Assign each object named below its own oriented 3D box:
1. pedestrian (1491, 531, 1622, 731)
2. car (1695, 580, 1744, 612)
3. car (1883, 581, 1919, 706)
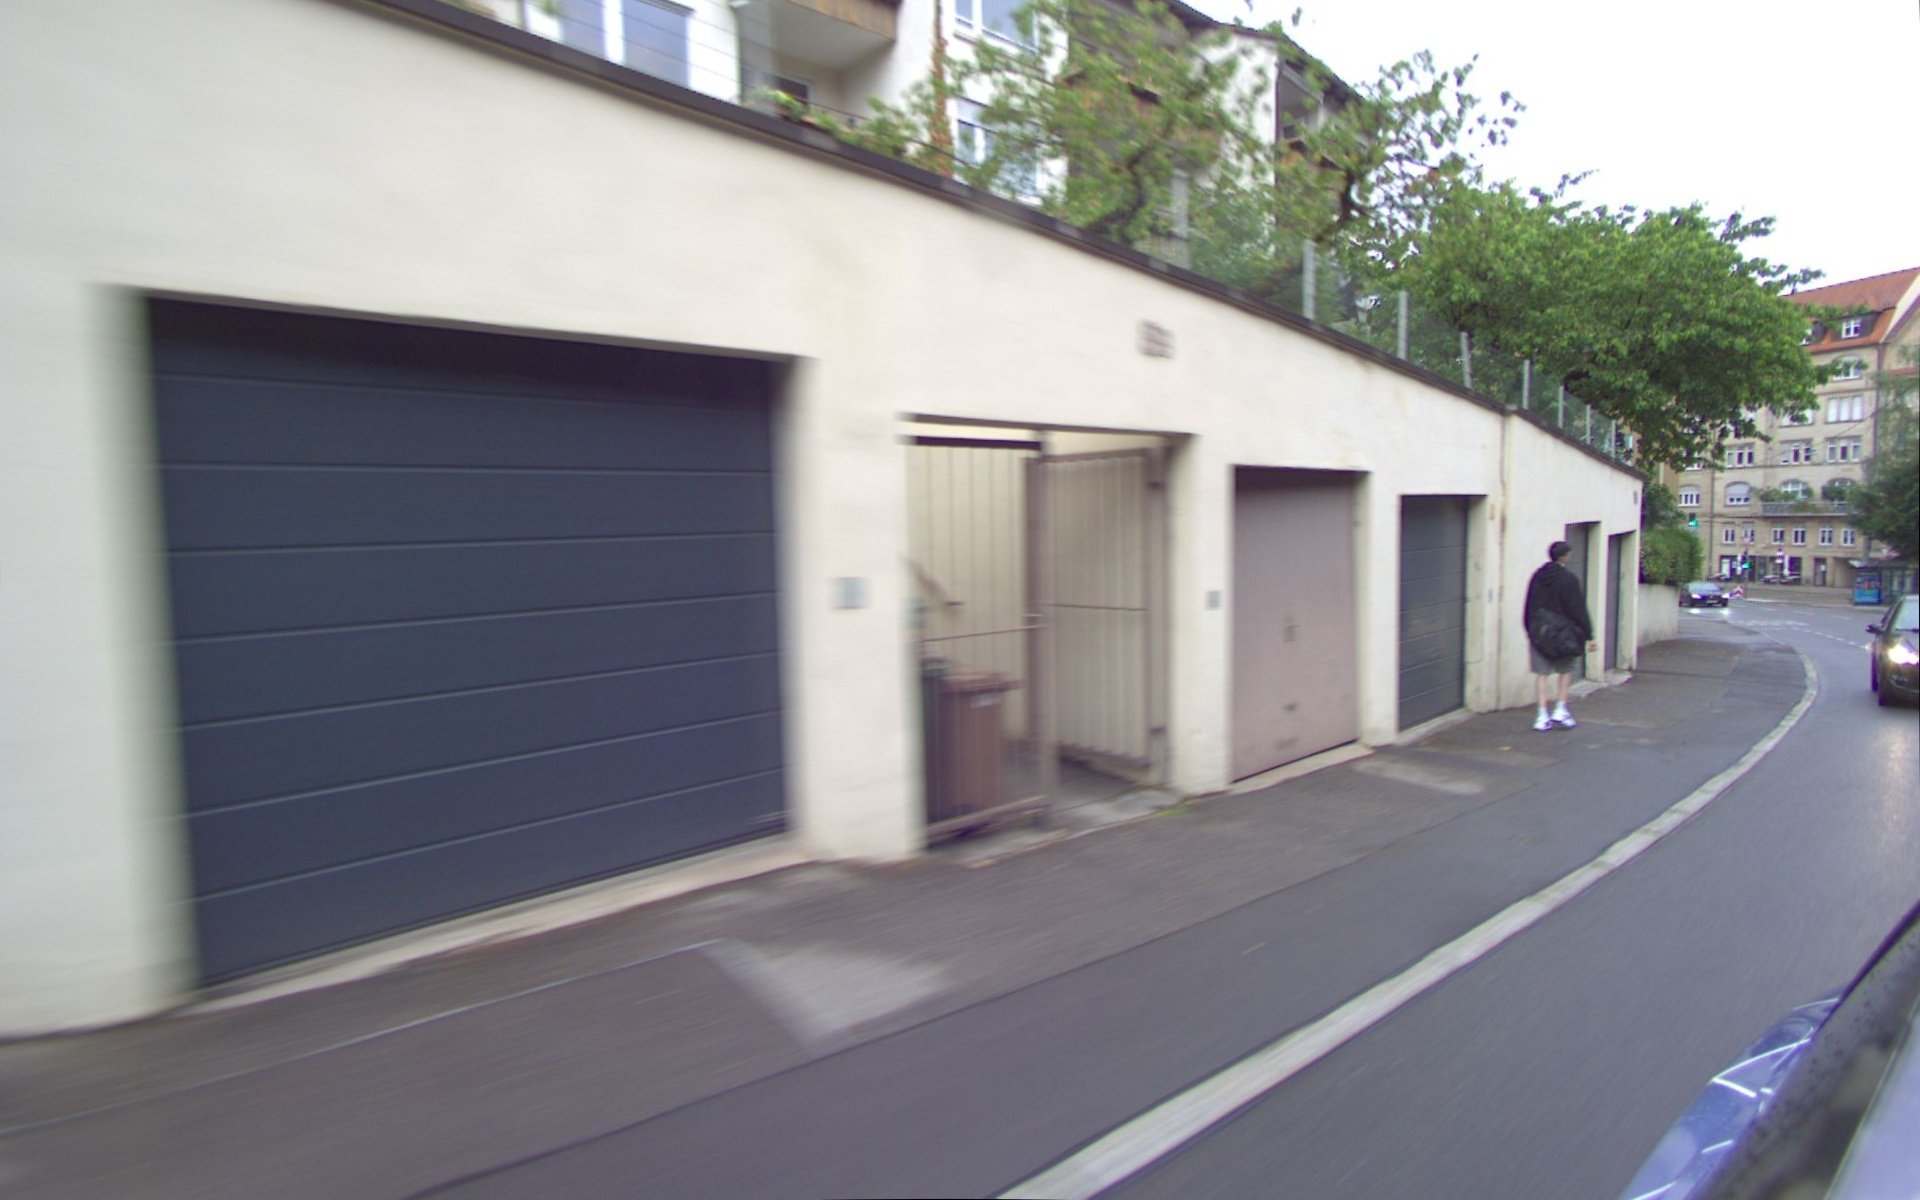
[{"bbox_3d":[5.942,0.271,10.091,0.789,1.873,0.900,-1,2,-43],"label":"pedestrian"},{"bbox_3d":[43.555,-0.231,58.095,1.883,1.717,3.955,-2,1,32],"label":"car"},{"bbox_3d":[13.688,0.501,13.616,1.694,1.483,3.937,-2,0,45],"label":"car"}]
